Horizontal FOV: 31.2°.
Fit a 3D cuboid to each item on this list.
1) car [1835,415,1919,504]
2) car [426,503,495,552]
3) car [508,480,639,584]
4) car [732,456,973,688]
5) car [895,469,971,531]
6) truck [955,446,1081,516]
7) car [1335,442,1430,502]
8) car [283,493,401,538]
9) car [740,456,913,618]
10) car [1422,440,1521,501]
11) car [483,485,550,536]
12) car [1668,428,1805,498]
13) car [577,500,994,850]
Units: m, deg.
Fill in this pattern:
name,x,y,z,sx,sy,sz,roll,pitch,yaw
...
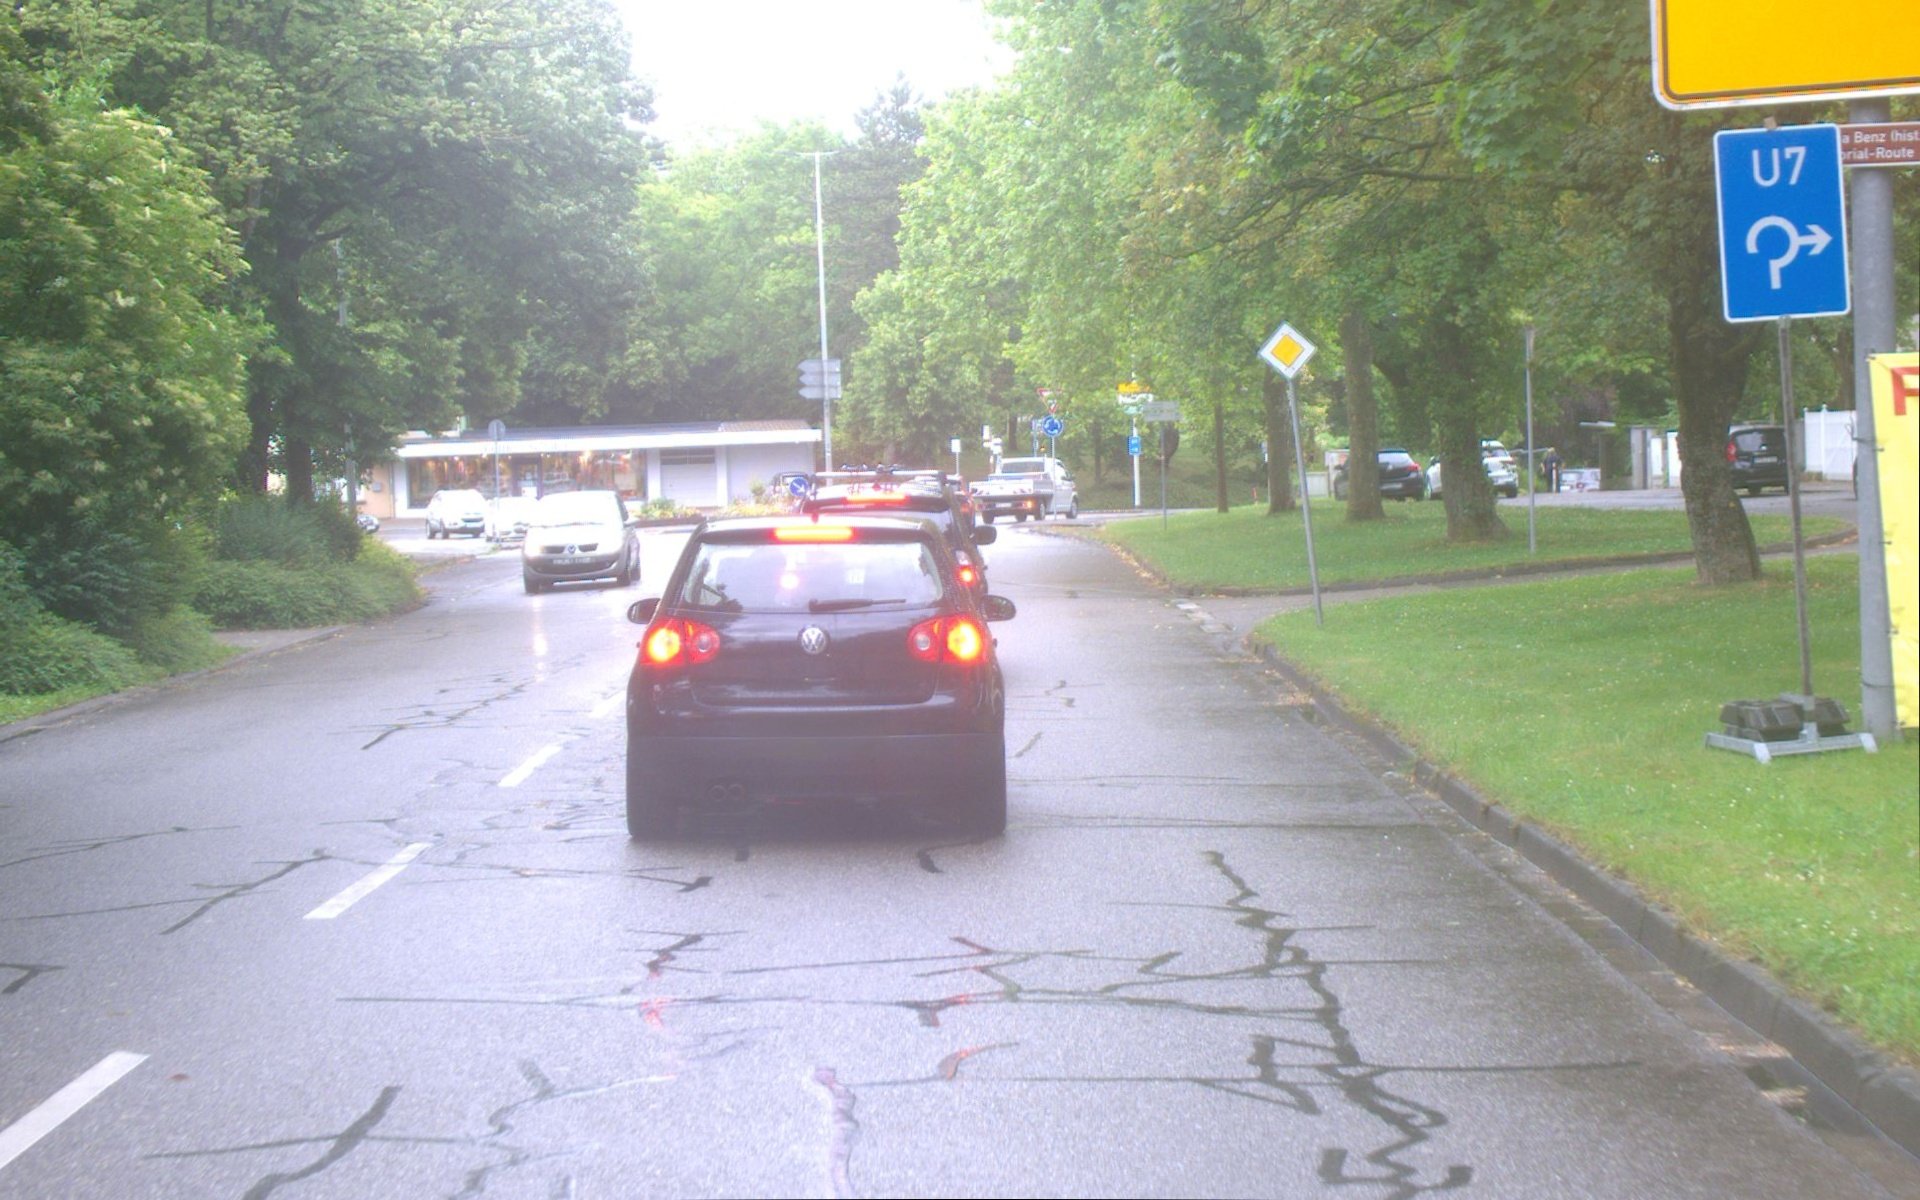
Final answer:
name,x,y,z,sx,sy,sz,roll,pitch,yaw
car,17.618,-2.612,63.099,1.801,1.524,4.113,-3,3,-3
car,-17.215,-2.522,118.390,1.771,1.612,3.805,-2,2,-17
car,-6.477,-1.176,58.003,1.763,1.608,4.142,-3,2,-1
car,-0.857,-0.289,29.270,1.855,1.778,4.000,-2,2,0
car,-0.728,-2.600,89.352,1.706,1.508,3.674,-3,2,-4
truck,1.801,-3.635,104.365,2.418,1.997,5.147,-2,2,17
car,10.697,-3.257,87.258,1.803,1.380,4.001,-4,3,0
car,-22.936,-3.137,127.519,3.972,1.388,1.800,-3,2,29
car,-1.547,-0.768,41.000,1.855,1.778,4.000,-2,2,0
car,13.002,-3.311,87.589,1.803,1.401,4.001,-4,3,0
car,-13.852,-2.809,107.159,1.607,1.422,4.010,-3,3,-13
car,16.868,-3.002,74.845,1.801,1.406,4.113,-3,3,-3
car,-0.757,0.272,16.759,1.798,1.510,3.754,0,2,0
